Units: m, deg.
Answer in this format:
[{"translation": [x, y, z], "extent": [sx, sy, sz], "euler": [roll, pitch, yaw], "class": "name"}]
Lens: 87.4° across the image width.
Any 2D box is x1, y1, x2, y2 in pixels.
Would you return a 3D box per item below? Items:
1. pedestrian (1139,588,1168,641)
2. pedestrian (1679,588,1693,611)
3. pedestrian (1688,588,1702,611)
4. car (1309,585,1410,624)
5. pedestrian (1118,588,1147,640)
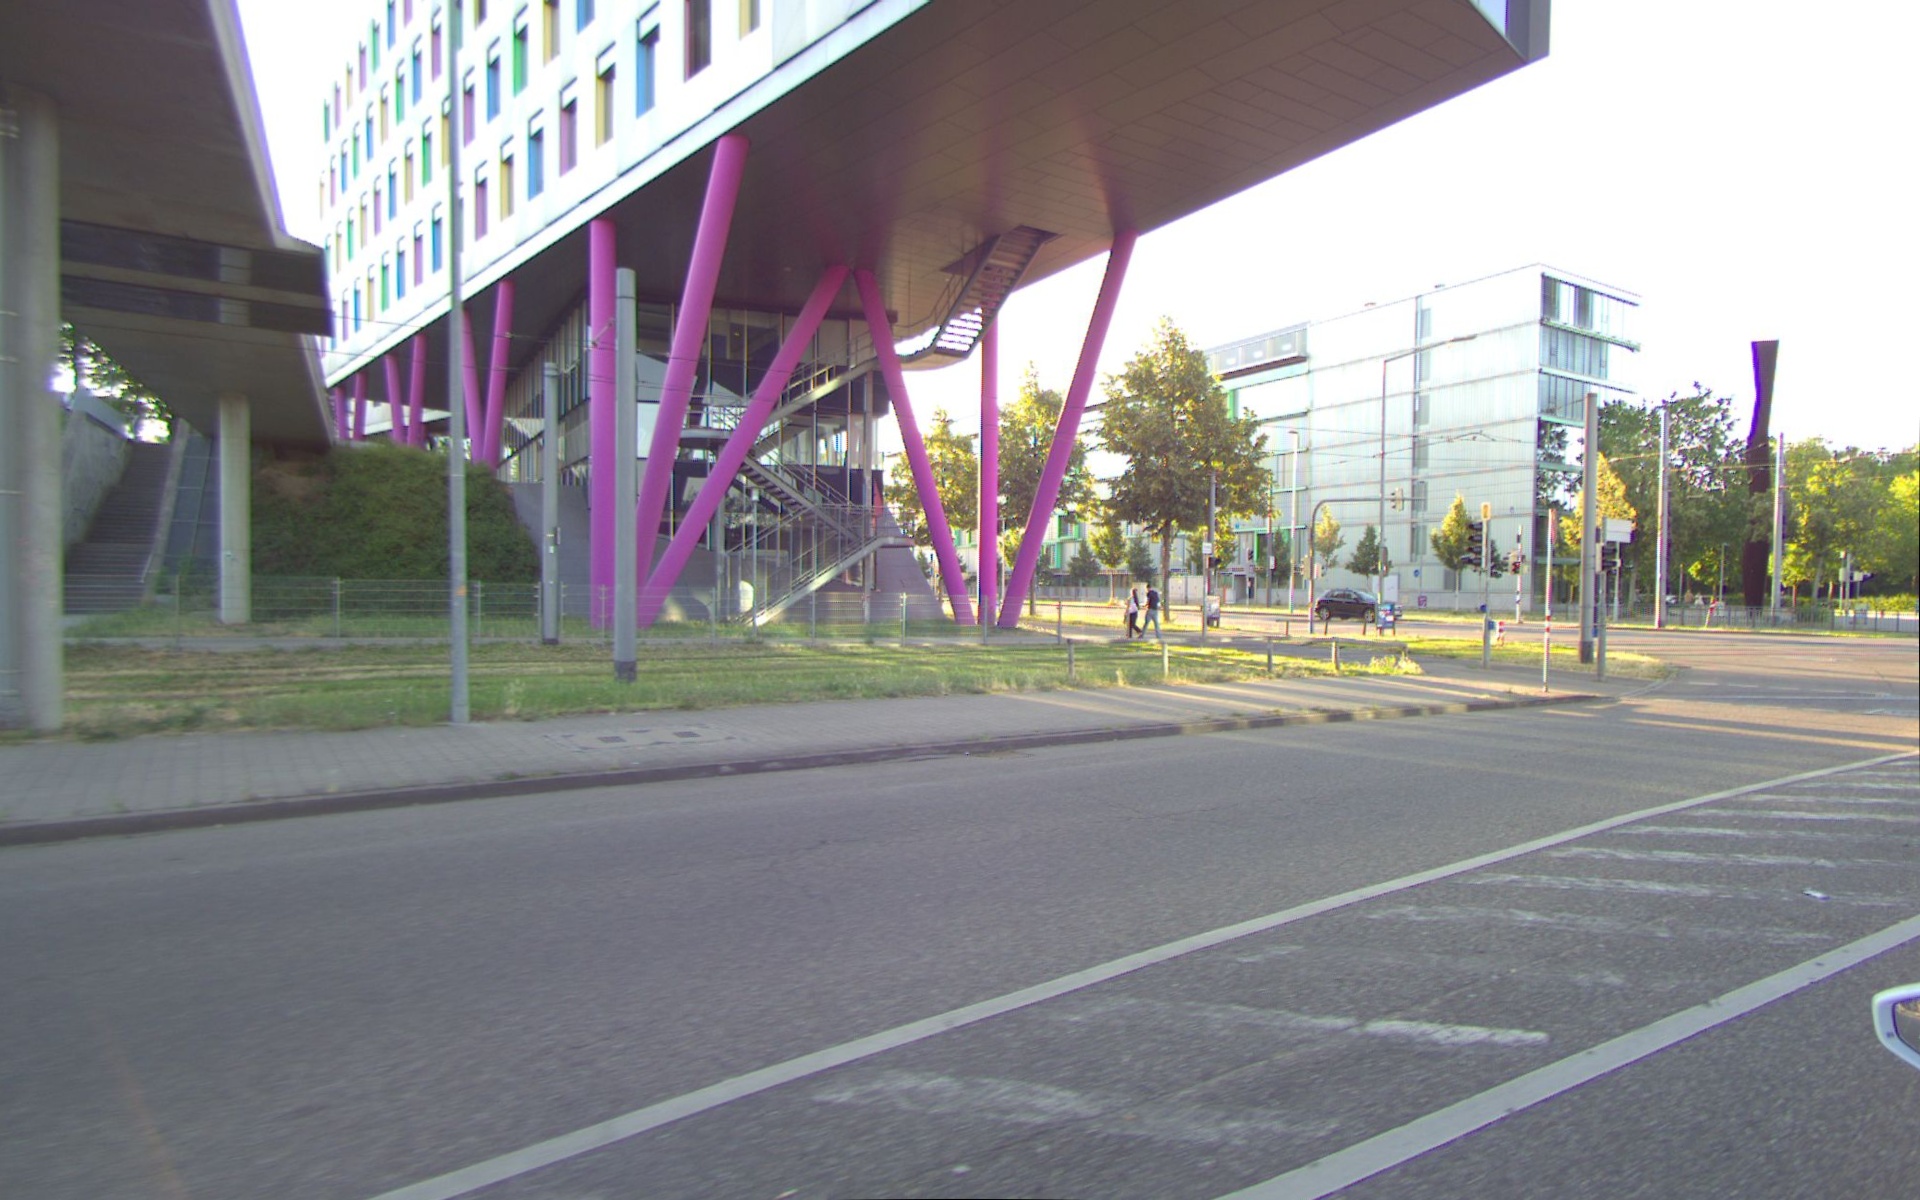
[{"translation": [6.242, 0.443, 32.362], "extent": [0.699, 1.686, 0.701], "euler": [0, 1, -13], "class": "pedestrian"}, {"translation": [64.627, -0.012, 89.418], "extent": [0.686, 2.041, 0.696], "euler": [0, 1, -10], "class": "pedestrian"}, {"translation": [65.612, -0.012, 89.618], "extent": [0.686, 2.041, 0.696], "euler": [0, 1, -10], "class": "pedestrian"}, {"translation": [19.871, 0.170, 50.118], "extent": [1.923, 1.841, 4.444], "euler": [-1, 1, -31], "class": "car"}, {"translation": [5.503, 0.435, 32.129], "extent": [0.699, 1.646, 0.686], "euler": [0, 1, -13], "class": "pedestrian"}]
